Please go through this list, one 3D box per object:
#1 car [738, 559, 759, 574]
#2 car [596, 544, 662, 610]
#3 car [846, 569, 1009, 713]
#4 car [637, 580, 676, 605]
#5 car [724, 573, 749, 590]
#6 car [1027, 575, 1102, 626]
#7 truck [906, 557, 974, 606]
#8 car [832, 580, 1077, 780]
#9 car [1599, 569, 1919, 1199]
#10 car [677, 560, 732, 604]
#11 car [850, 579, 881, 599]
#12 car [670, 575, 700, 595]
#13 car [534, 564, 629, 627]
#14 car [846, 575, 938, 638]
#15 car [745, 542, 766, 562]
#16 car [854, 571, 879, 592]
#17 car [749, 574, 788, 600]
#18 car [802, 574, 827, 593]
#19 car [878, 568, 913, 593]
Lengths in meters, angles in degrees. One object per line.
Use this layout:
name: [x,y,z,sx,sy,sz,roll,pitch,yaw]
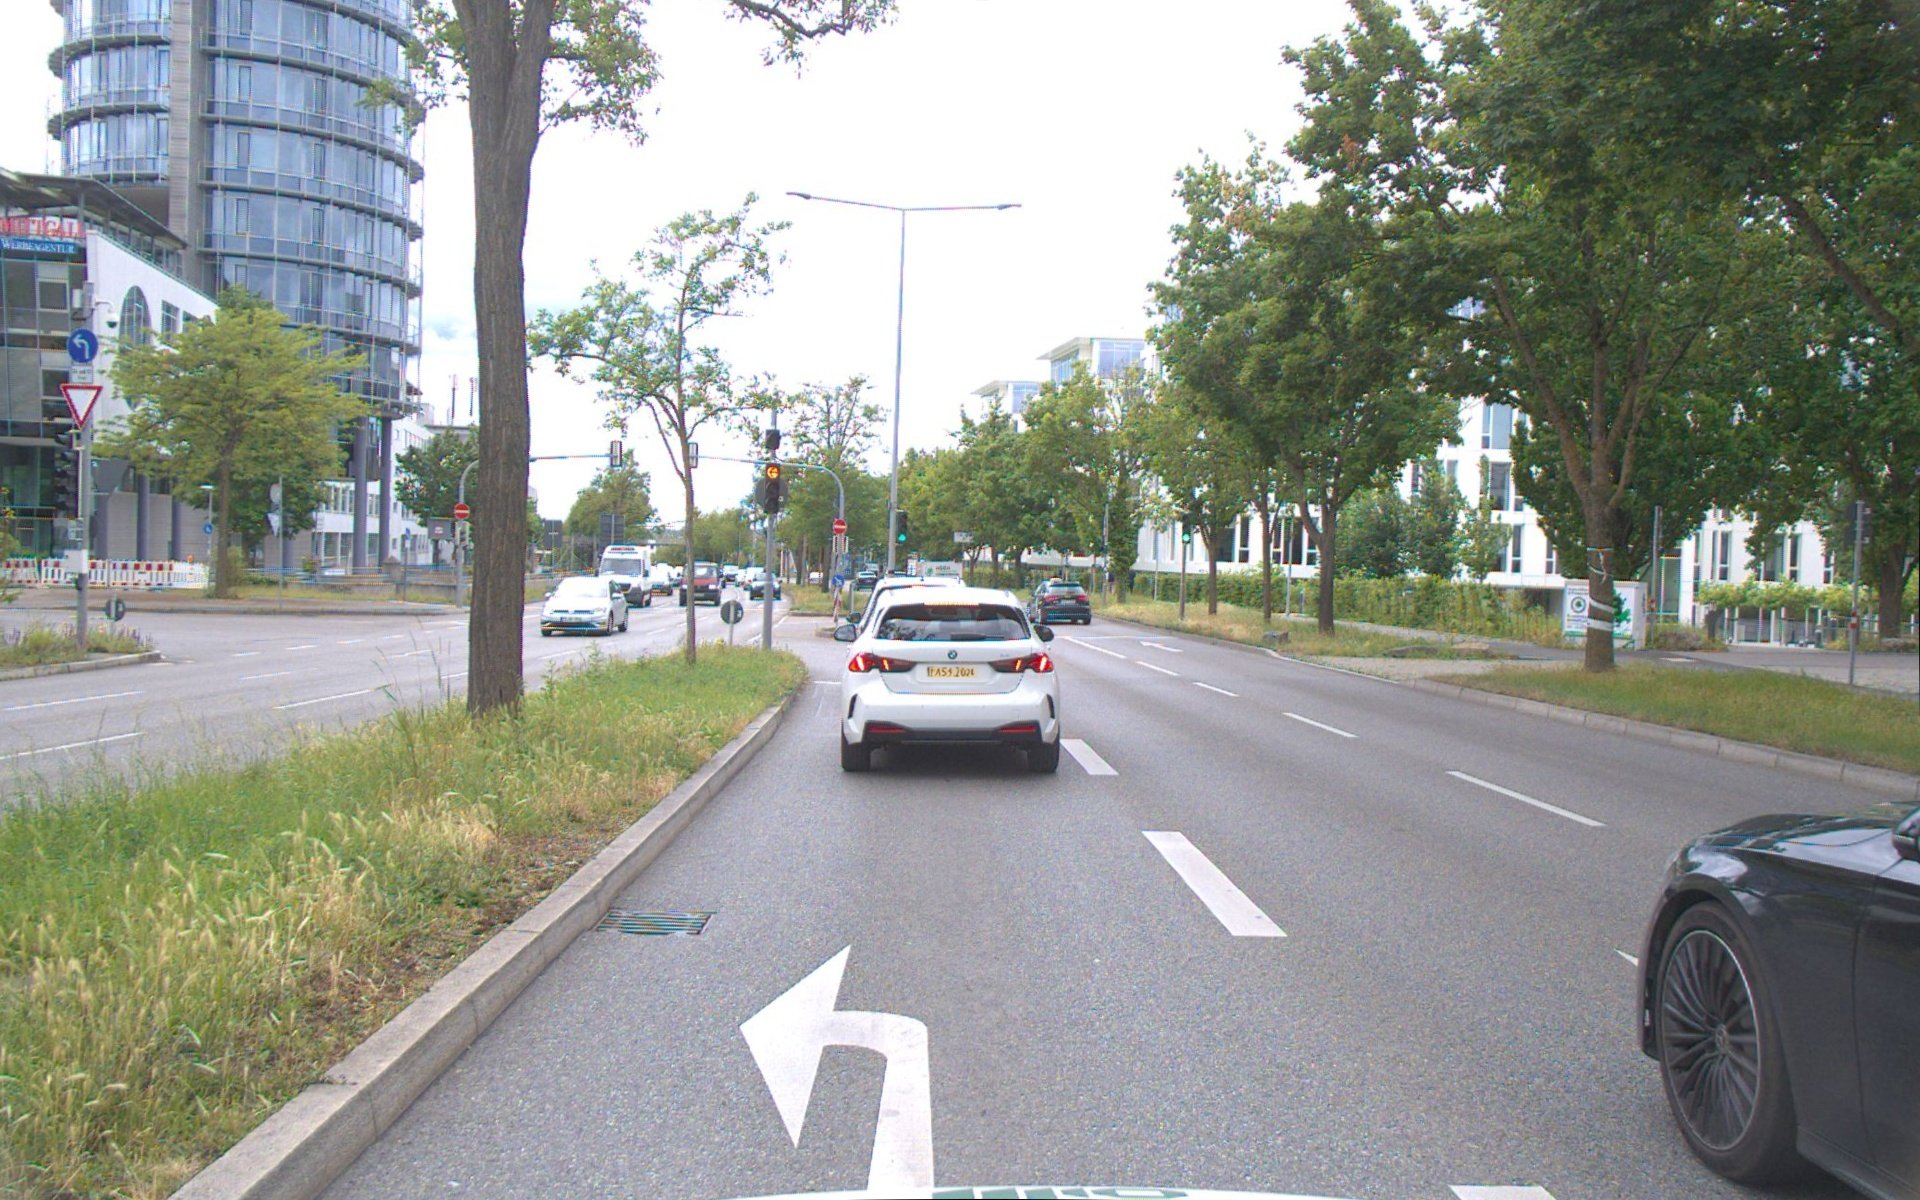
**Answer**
car: [-25.171,-3.942,197.042,1.953,1.646,3.999,3,1,-1]
car: [-14.406,-1.004,72.282,1.954,2.679,5.871,3,1,-4]
car: [-0.407,0.496,22.136,1.953,1.701,4.000,1,0,0]
car: [-17.750,-0.433,96.850,1.673,1.443,3.802,0,1,-1]
car: [-20.622,-1.738,152.407,1.954,1.516,3.997,2,1,-4]
car: [3.481,-0.017,55.815,1.954,1.624,3.996,1,1,-5]
truck: [-1.160,-1.024,91.508,2.807,2.563,6.274,1,0,-9]
car: [0.000,0.601,14.560,1.824,1.474,4.001,1,0,1]
car: [3.014,0.724,2.600,2.011,1.512,4.972,1,1,-1]
car: [-11.902,-0.838,77.306,1.896,1.951,4.972,1,1,-2]
car: [-7.369,-0.872,128.316,1.957,1.534,3.991,1,1,-10]
car: [-20.236,-1.110,121.893,1.673,1.443,3.802,0,1,-1]
car: [-9.800,-0.136,43.059,1.718,1.469,4.132,3,1,-4]
car: [-1.733,0.152,43.534,1.951,1.534,4.002,1,0,4]
car: [-22.217,-5.219,179.955,1.954,2.045,4.321,3,1,-4]
car: [-7.418,-1.482,131.049,1.954,1.516,3.997,2,1,-4]
car: [-10.418,-0.729,90.161,1.718,1.395,3.779,0,1,-1]
car: [-11.995,-1.379,136.686,1.954,1.516,3.997,2,1,-4]
car: [-4.302,-1.302,109.764,1.956,1.534,3.993,1,1,-8]
